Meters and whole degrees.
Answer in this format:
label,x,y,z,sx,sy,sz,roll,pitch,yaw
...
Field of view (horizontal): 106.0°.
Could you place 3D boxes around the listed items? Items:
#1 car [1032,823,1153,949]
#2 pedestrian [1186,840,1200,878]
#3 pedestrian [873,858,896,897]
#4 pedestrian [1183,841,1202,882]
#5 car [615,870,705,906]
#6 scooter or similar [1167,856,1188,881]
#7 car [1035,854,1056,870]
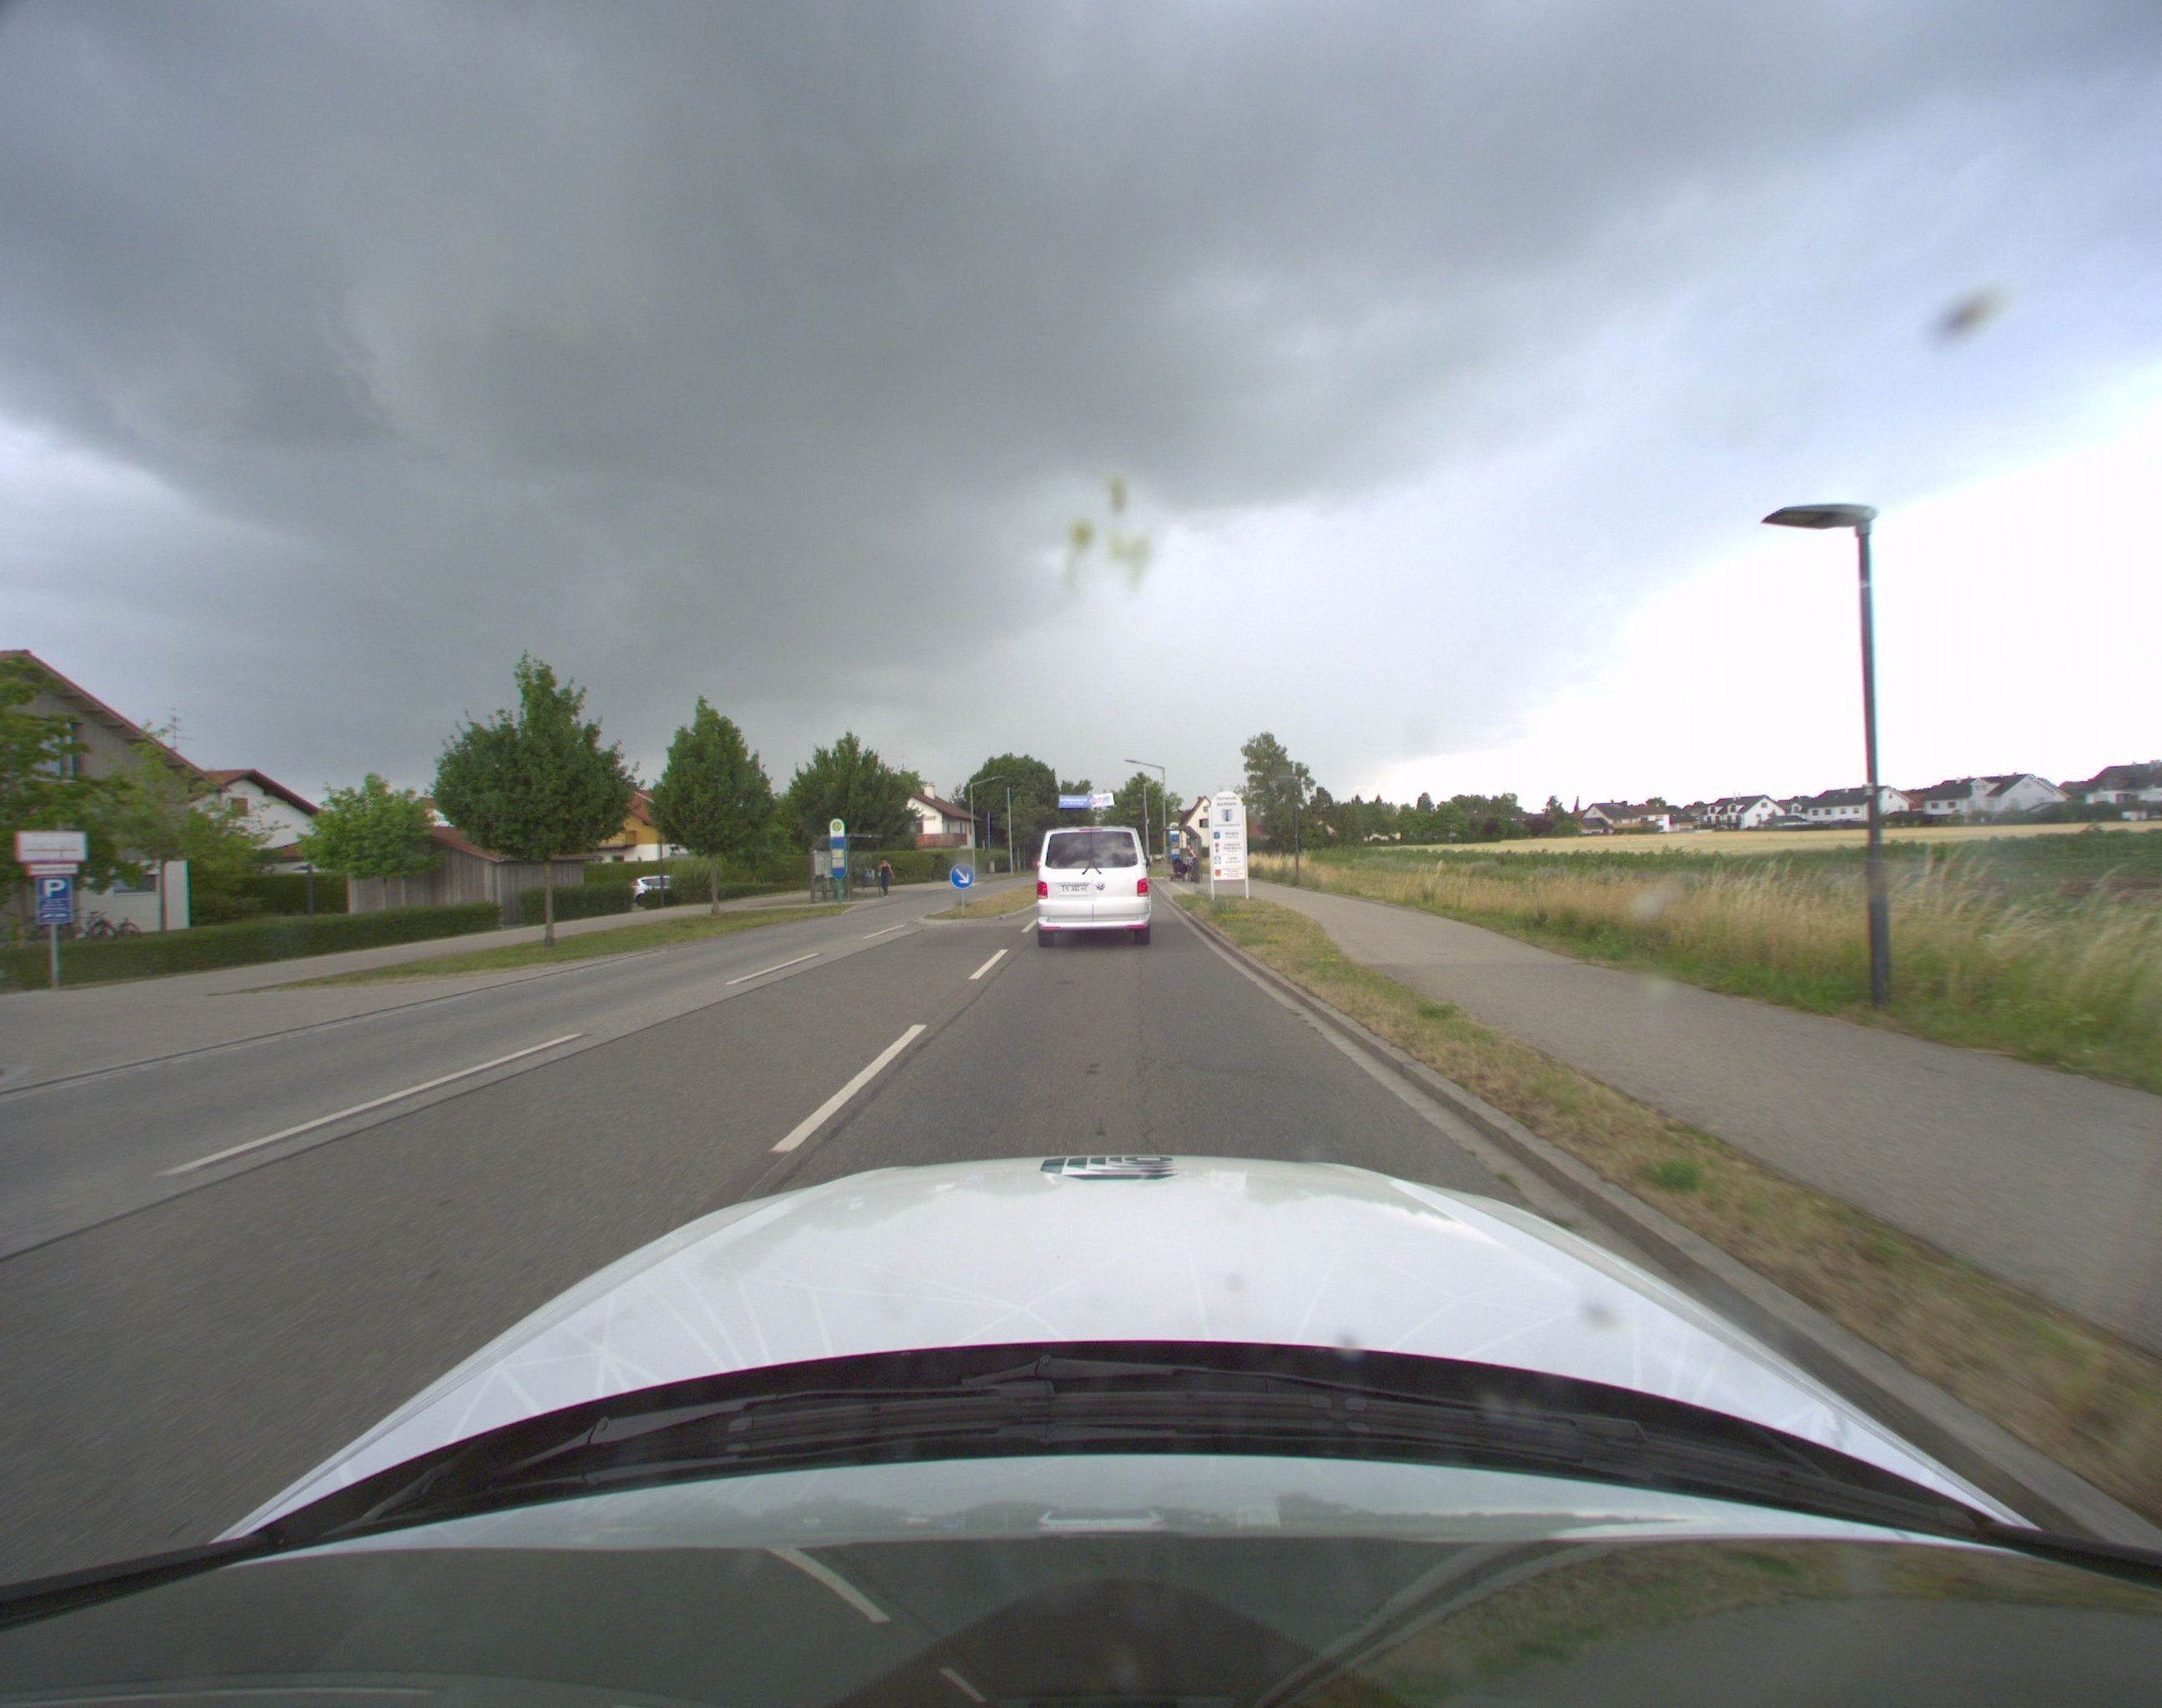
label,x,y,z,sx,sy,sz,roll,pitch,yaw
car,0.208,0.482,14.590,1.819,1.913,4.001,-1,0,1
pedestrian,5.291,0.233,38.491,0.483,1.732,0.642,-4,0,2
pedestrian,-7.982,0.930,33.108,0.621,1.524,0.680,-4,0,2
pedestrian,4.771,0.316,34.829,0.636,1.732,0.488,-4,0,13
car,-21.487,1.723,41.648,3.580,1.529,1.658,-4,0,-1
scooter or similar,4.558,0.671,38.414,0.845,1.103,1.095,-4,0,2
car,-3.456,0.748,79.848,1.647,1.429,3.604,-4,0,2
